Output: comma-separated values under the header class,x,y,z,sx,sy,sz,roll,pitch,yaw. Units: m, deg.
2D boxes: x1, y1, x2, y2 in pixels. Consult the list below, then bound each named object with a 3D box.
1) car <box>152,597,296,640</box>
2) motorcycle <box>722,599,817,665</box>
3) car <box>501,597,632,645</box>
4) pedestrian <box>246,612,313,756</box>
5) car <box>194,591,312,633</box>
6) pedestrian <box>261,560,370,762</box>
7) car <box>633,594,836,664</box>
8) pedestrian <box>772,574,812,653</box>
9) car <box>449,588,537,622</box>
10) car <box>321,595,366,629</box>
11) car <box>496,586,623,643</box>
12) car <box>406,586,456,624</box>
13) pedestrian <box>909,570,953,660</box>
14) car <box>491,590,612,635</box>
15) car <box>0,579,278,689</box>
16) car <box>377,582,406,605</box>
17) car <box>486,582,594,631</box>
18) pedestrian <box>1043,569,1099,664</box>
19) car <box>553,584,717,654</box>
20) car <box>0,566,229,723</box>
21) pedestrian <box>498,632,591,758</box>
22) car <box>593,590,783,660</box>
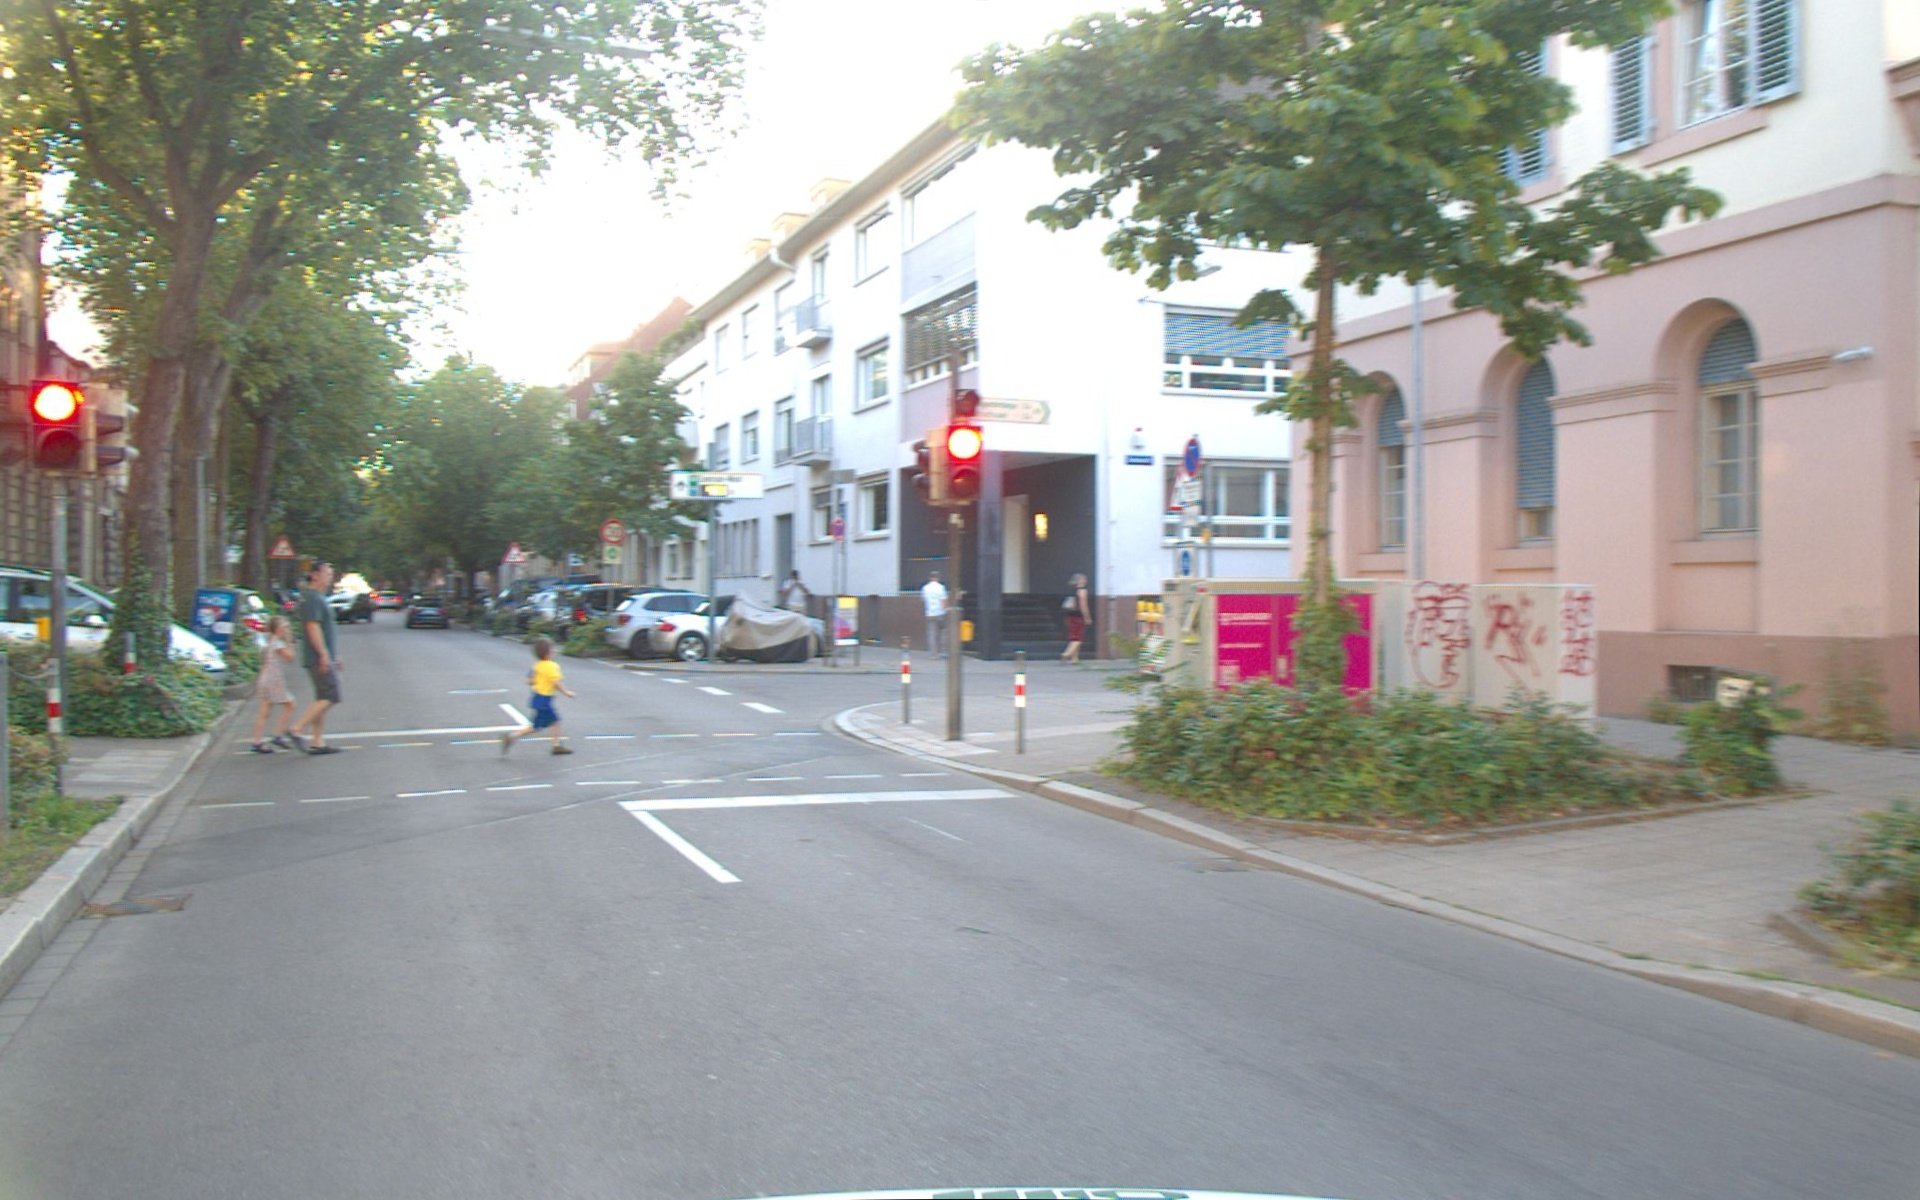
class,x,y,z,sx,sy,sz,roll,pitch,yaw
car,-25.787,0.634,58.102,4.482,1.434,1.822,-1,0,-21
motorcycle,-3.667,0.613,31.791,1.768,1.220,0.611,-1,0,-12
car,-12.693,0.651,53.345,3.957,1.434,1.696,-1,0,-21
pedestrian,-6.584,0.804,16.010,0.530,1.359,0.504,0,0,-16
car,-29.799,0.499,69.829,4.482,1.721,1.822,0,0,-21
pedestrian,-6.063,0.549,15.597,0.874,1.847,0.790,0,0,-17
car,-4.742,0.572,34.746,3.956,1.366,1.696,-1,0,-21
pedestrian,-4.045,0.312,39.762,0.756,1.873,0.938,0,0,-20
car,-22.275,0.234,78.877,3.957,1.630,1.696,0,0,-21
car,-30.329,0.573,81.310,1.878,1.605,3.963,1,0,-23
car,-13.436,0.467,55.516,3.957,1.847,1.696,-1,0,-21
car,-23.337,0.210,72.892,1.799,1.589,4.001,1,0,-22
pedestrian,-0.580,0.292,32.895,0.692,1.782,0.696,0,0,-17
car,-14.367,0.432,58.159,3.957,1.557,1.696,0,0,-21
car,-13.919,0.530,27.740,4.482,1.718,1.822,-1,0,-21
car,-42.496,-0.511,123.617,1.897,1.689,3.975,0,0,-21
car,-16.550,0.252,65.120,3.957,1.862,1.696,0,0,-21
pedestrian,2.137,0.308,31.816,0.757,1.782,0.928,0,0,-20
car,-8.434,0.463,42.950,3.957,1.720,1.696,-1,0,-21
car,-11.584,0.524,20.601,4.488,1.867,1.819,-1,0,-24
pedestrian,-3.885,0.875,15.466,0.821,1.140,0.565,0,0,-16
car,-6.094,0.528,37.067,3.957,1.467,1.696,-1,0,-21
